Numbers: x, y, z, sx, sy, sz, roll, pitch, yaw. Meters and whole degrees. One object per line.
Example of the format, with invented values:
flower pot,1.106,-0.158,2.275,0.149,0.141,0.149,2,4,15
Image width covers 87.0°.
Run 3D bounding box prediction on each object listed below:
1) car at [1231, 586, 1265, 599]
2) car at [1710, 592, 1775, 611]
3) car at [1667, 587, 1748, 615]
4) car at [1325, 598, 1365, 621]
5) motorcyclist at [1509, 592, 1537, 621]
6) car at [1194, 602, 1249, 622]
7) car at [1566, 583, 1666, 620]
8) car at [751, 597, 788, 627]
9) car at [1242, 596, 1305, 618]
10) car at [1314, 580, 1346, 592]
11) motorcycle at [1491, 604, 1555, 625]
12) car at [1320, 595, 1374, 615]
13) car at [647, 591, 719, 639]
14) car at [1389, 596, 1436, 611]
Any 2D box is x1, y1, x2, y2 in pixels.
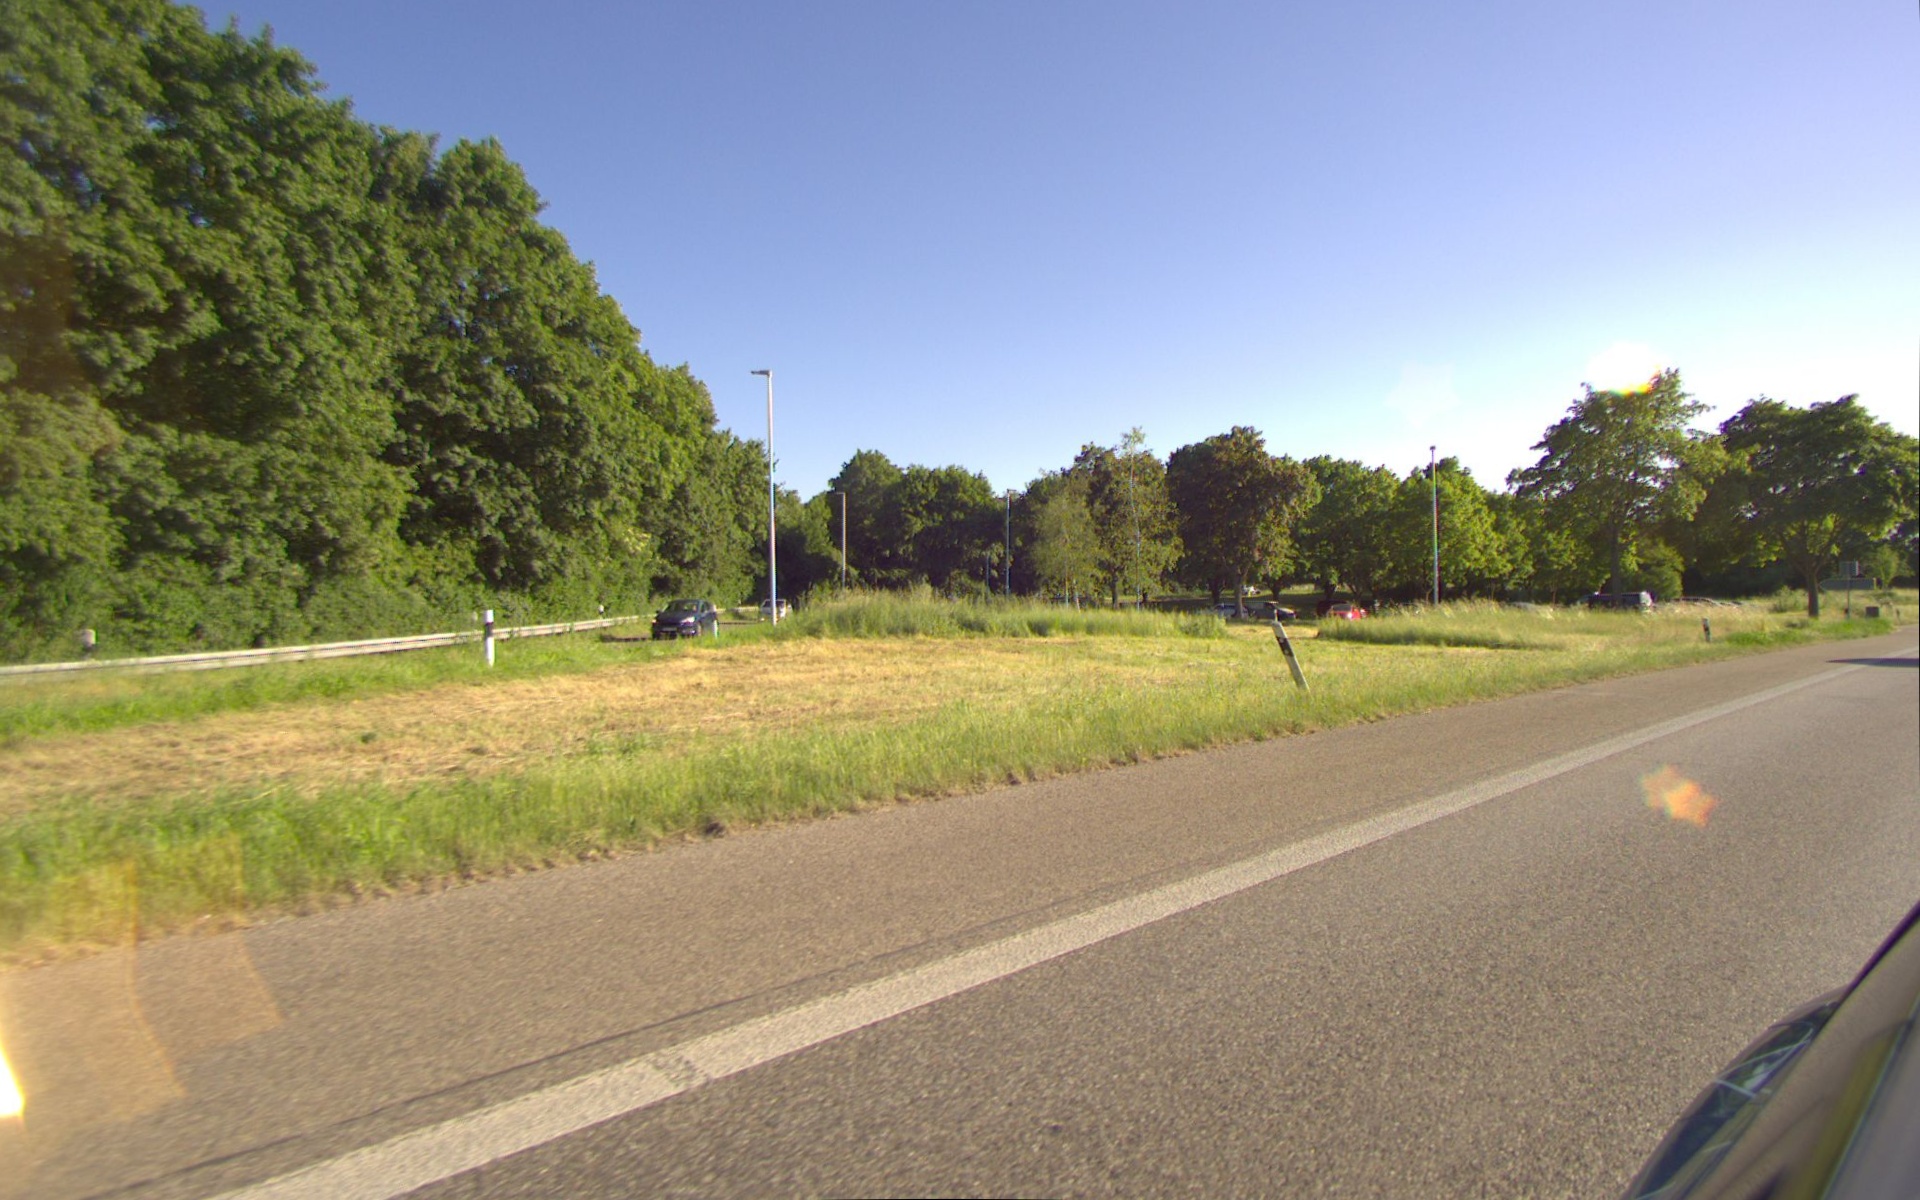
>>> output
car,35.288,-0.924,124.029,3.920,1.596,1.911,0,0,-30
car,64.898,0.128,83.978,1.892,1.477,3.936,-4,2,-42
car,58.530,0.097,79.316,1.993,2.048,4.795,-4,2,-42
car,25.903,0.636,67.998,1.690,1.481,4.100,-1,0,33
motorcyclist,29.478,0.338,53.009,1.077,1.465,0.816,-1,0,12
car,21.279,0.965,82.316,4.171,1.580,1.777,-1,-1,19
car,43.130,0.112,66.622,2.053,2.163,5.050,-2,-2,-32
car,-11.513,0.736,61.276,1.726,1.593,4.146,-4,-1,-5
car,28.196,0.578,91.130,1.923,1.889,5.201,-1,1,-40
car,49.210,-1.878,134.654,3.920,1.596,1.911,0,0,-31
motorcycle,29.467,0.769,53.002,2.792,1.083,0.816,0,0,13
car,38.188,0.459,99.941,4.584,1.798,1.917,1,2,44
car,-10.445,0.517,38.427,1.726,1.592,4.146,-4,0,-4
car,47.748,0.371,106.878,1.835,1.441,4.115,-4,2,-42
